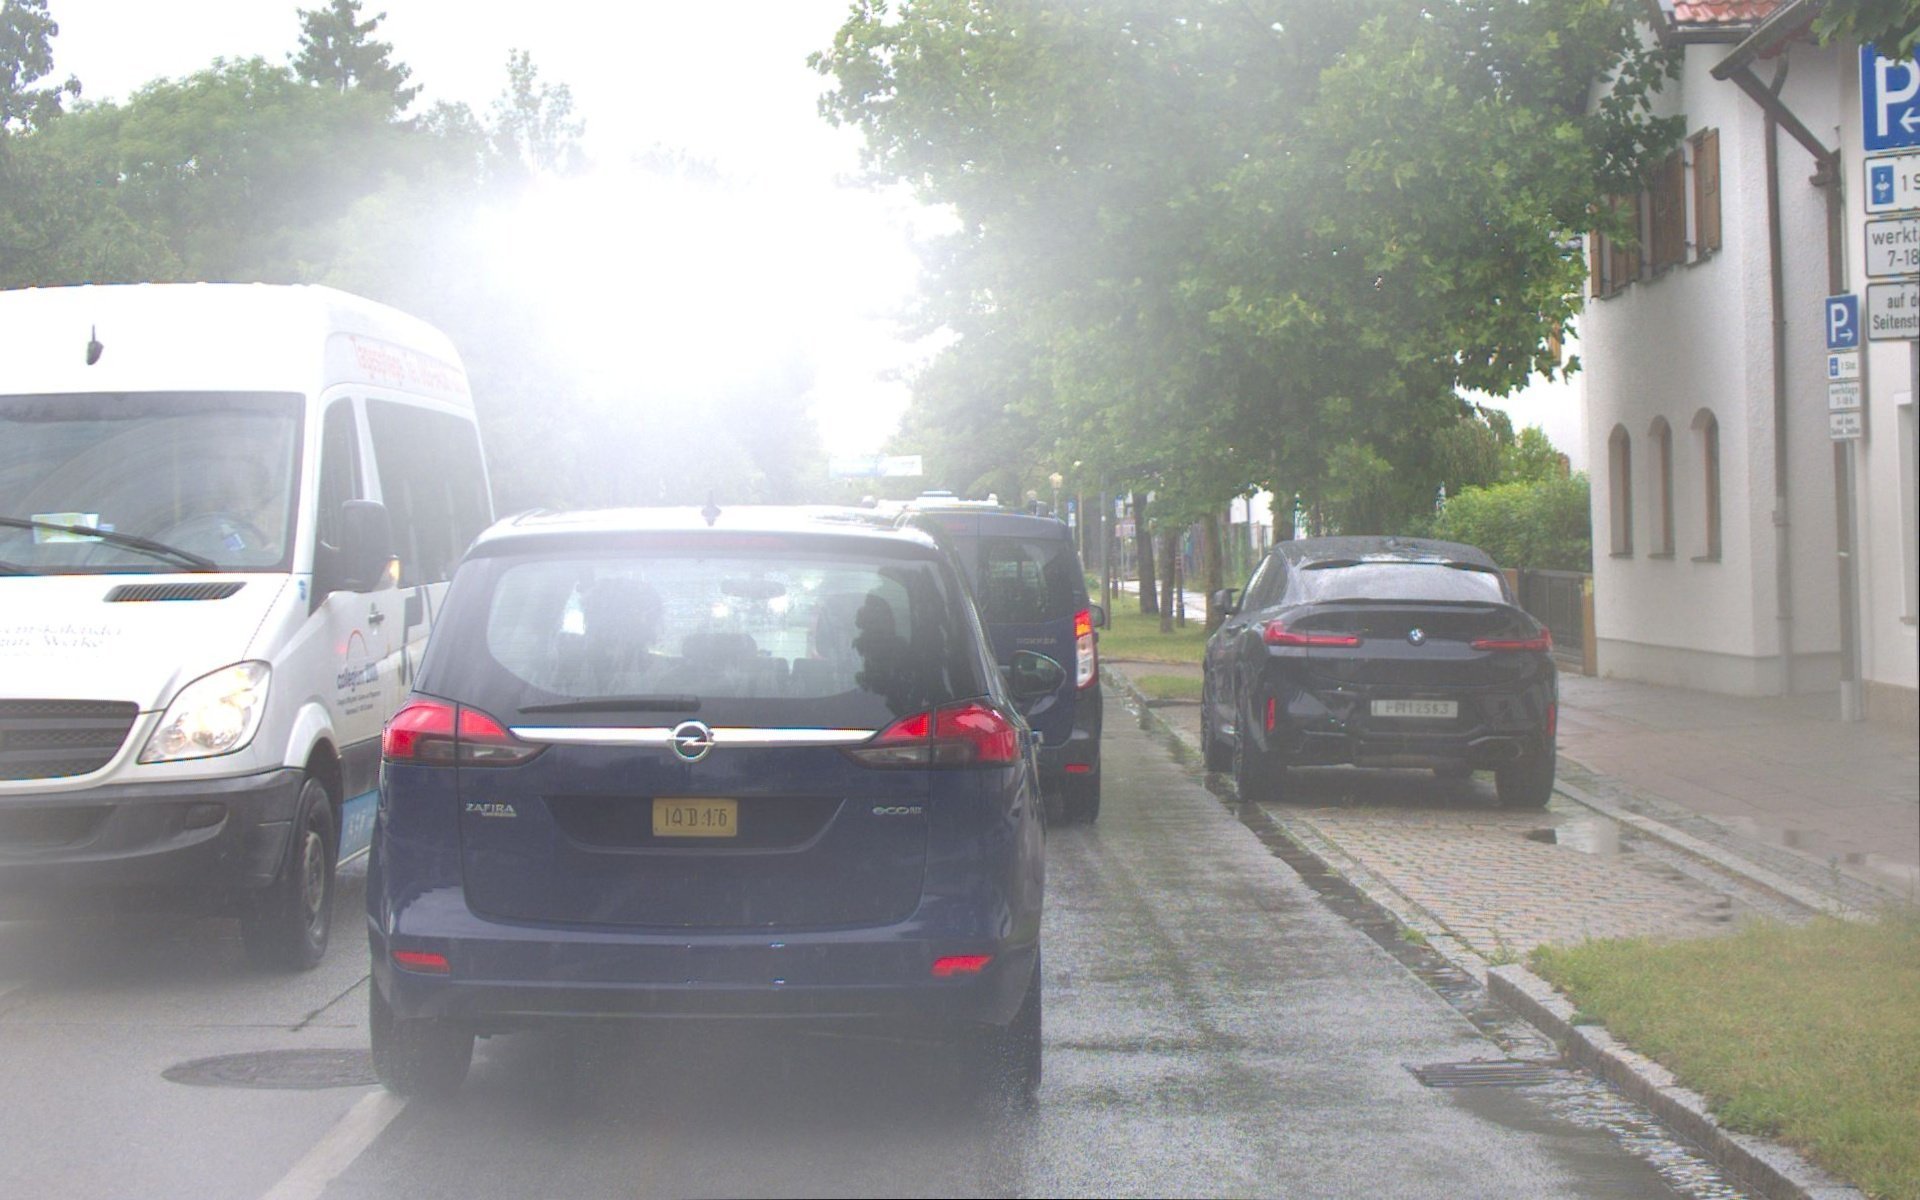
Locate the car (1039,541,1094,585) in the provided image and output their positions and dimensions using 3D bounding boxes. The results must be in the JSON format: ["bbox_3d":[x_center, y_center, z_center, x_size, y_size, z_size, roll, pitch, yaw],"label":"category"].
[{"bbox_3d":[3.422,-1.171,110.739,1.630,1.373,3.623,0,0,0],"label":"car"}]

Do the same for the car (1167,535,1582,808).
[{"bbox_3d":[2.533,0.402,21.992,2.117,1.576,3.936,0,0,-1],"label":"car"}]

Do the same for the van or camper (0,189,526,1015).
[{"bbox_3d":[-3.250,-0.024,14.448,2.094,2.698,6.269,-1,1,-1],"label":"van or camper"}]

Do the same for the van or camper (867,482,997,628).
[{"bbox_3d":[-0.530,-0.877,66.981,2.360,2.656,5.372,-1,1,0],"label":"van or camper"}]

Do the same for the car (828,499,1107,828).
[{"bbox_3d":[0.034,0.324,20.120,1.500,1.770,3.112,0,1,0],"label":"car"}]

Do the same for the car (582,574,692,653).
[{"bbox_3d":[-6.114,0.238,65.414,1.580,1.371,4.184,-2,1,1],"label":"car"}]

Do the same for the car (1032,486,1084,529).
[{"bbox_3d":[3.419,-3.222,120.068,1.630,1.373,3.623,-2,0,0],"label":"car"}]

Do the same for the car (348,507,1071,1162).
[{"bbox_3d":[-0.624,0.556,10.303,1.768,1.599,3.663,1,1,0],"label":"car"}]
